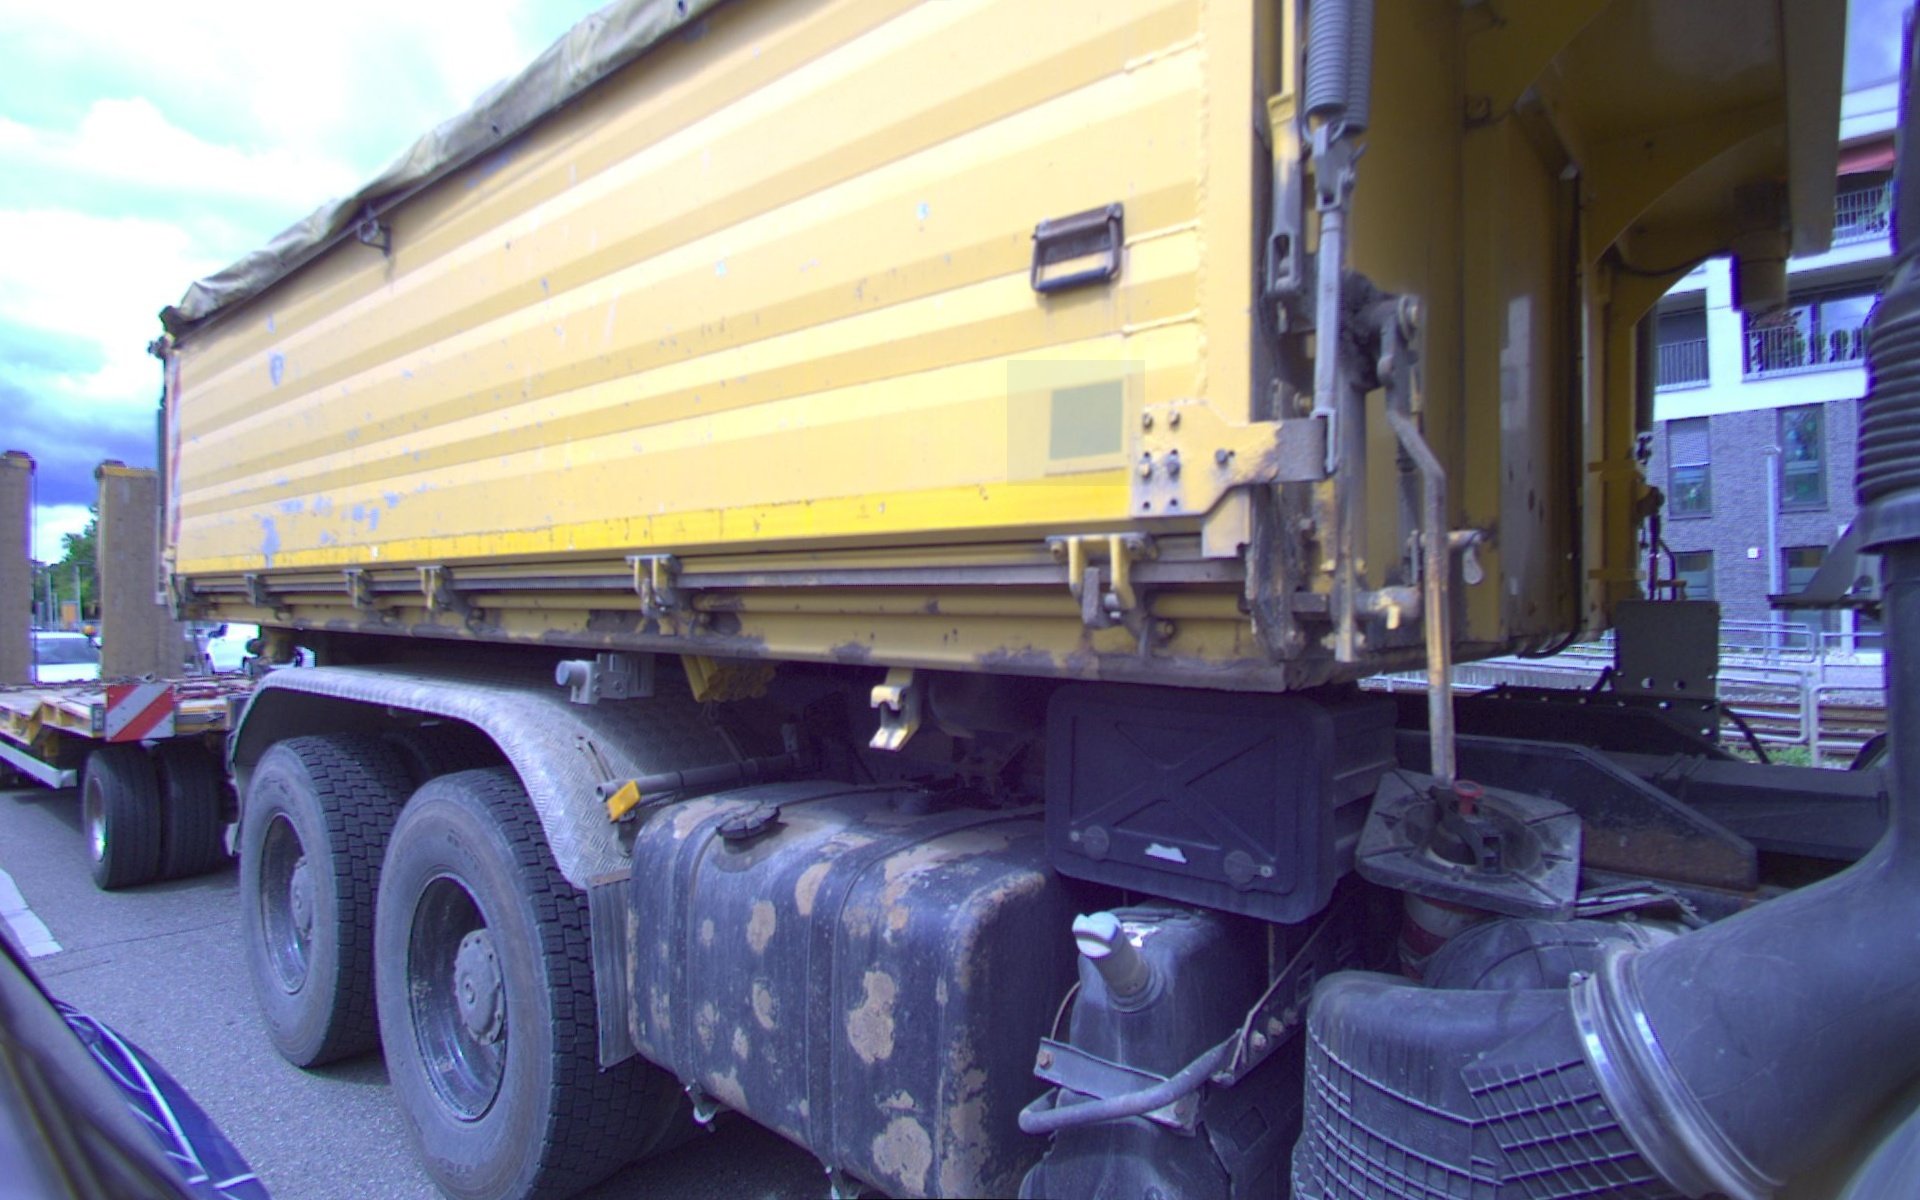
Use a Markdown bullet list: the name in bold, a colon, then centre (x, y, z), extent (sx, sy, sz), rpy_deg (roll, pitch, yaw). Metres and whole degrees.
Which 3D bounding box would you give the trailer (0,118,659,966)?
- **trailer**: centre (-6.856, -0.148, 8.853), extent (10.909, 3.548, 2.678), rpy_deg (-2, -1, 41)

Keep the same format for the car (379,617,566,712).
- **car**: centre (-8.565, 1.064, 17.661), extent (3.564, 1.469, 1.683), rpy_deg (-2, -1, 41)

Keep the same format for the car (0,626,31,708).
- **car**: centre (-19.579, 1.285, 19.790), extent (3.998, 1.490, 1.671), rpy_deg (-1, 0, 41)

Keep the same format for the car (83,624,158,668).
- **car**: centre (-31.283, 1.696, 37.677), extent (3.552, 1.509, 1.623), rpy_deg (-2, -1, 41)

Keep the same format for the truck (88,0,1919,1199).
- **truck**: centre (0.161, -0.052, 2.685), extent (7.775, 3.026, 2.692), rpy_deg (-1, 0, 41)

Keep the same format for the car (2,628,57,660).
- **car**: centre (-46.329, 2.183, 50.365), extent (3.552, 1.509, 1.623), rpy_deg (-2, -1, 41)

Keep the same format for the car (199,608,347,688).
- **car**: centre (-17.013, 1.142, 24.966), extent (4.861, 1.785, 1.863), rpy_deg (-2, -1, 41)

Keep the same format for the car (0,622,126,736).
- **car**: centre (-14.209, 1.120, 15.446), extent (3.998, 1.490, 1.671), rpy_deg (-1, 0, 41)
